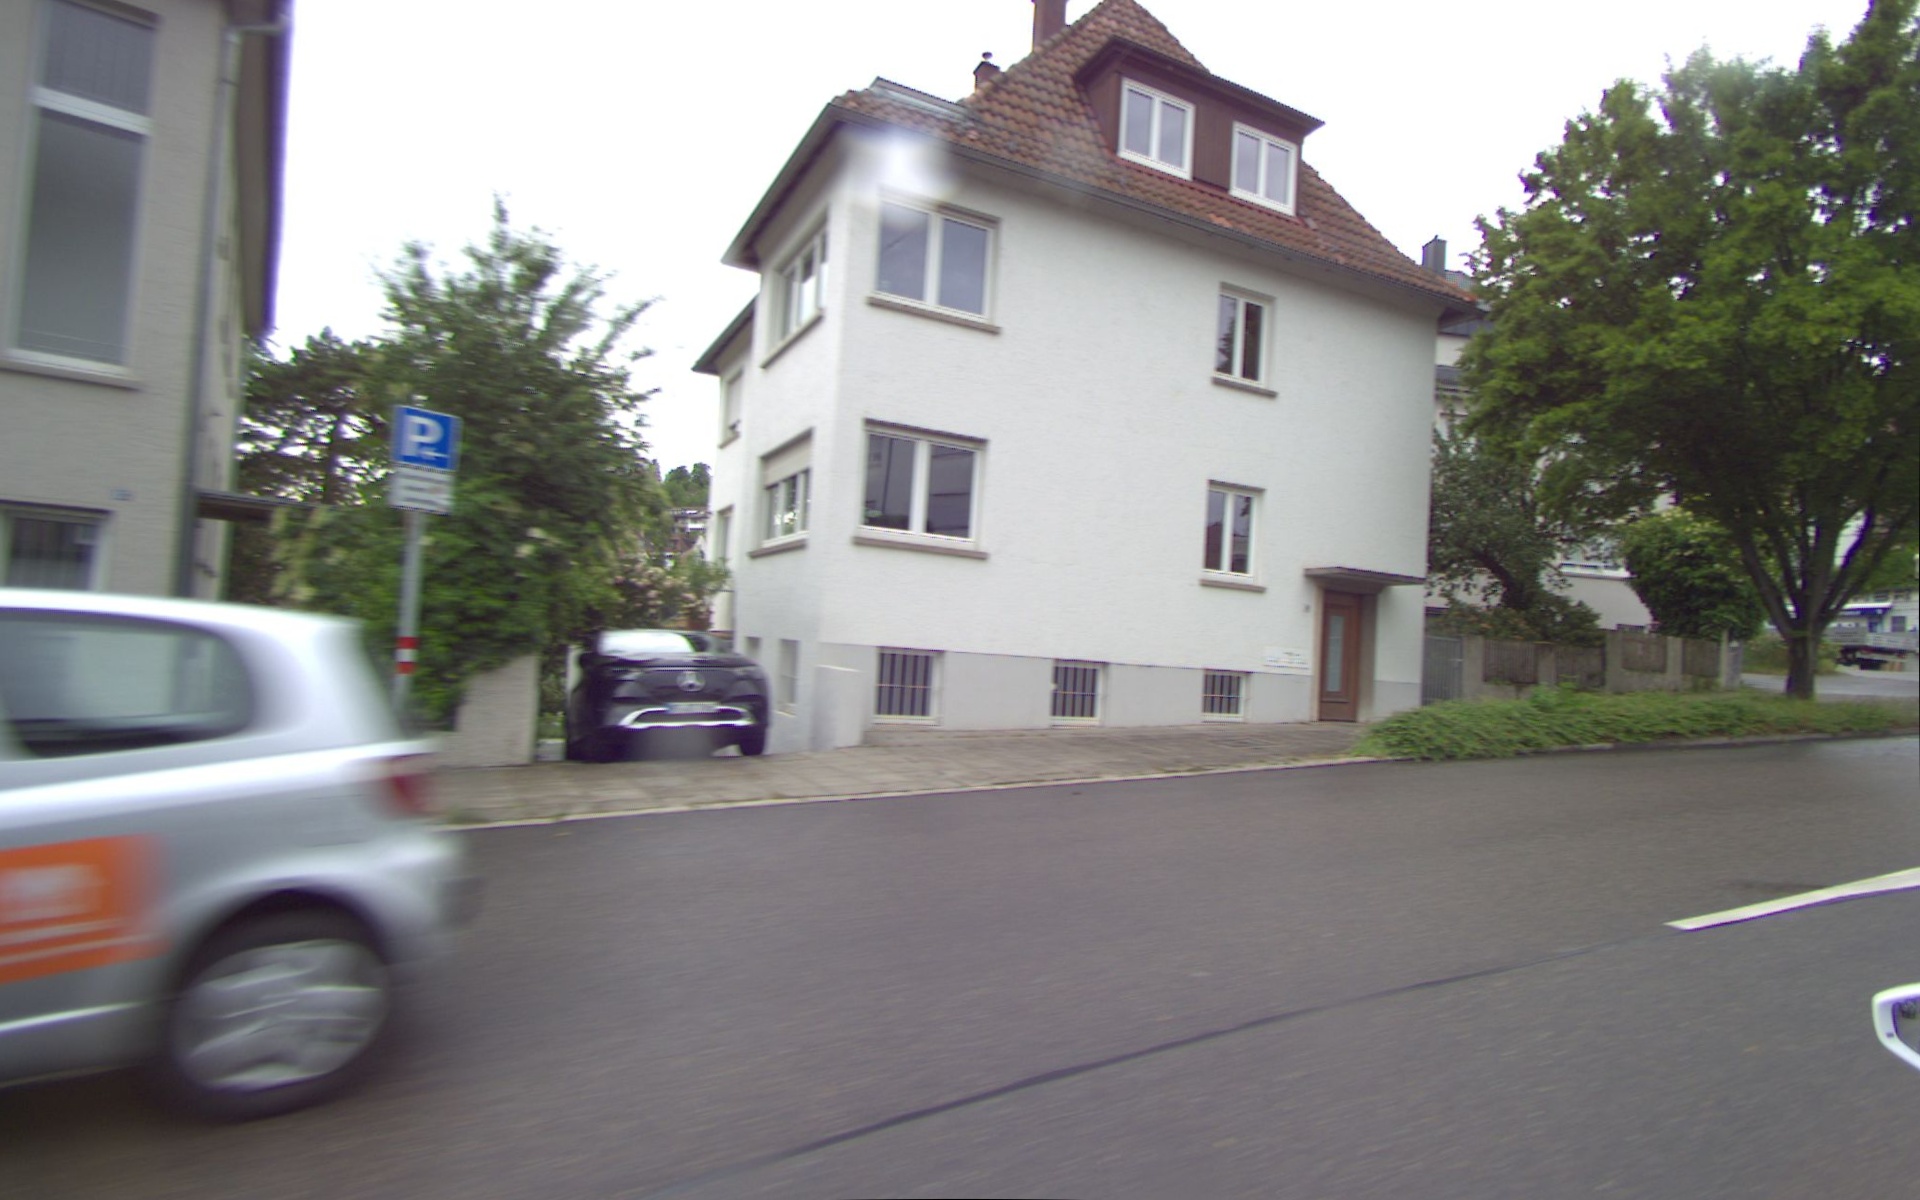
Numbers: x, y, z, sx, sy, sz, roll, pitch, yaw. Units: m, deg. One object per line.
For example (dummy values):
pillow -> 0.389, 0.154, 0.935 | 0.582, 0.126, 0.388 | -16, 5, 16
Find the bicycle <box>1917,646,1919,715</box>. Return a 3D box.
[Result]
bicycle -> 16.452, 1.282, 16.080 | 1.925, 1.099, 0.421 | -1, 0, -4

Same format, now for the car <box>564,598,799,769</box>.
car -> -3.506, 0.891, 12.033 | 1.974, 1.645, 4.227 | 2, -2, -26

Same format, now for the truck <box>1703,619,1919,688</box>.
truck -> 32.920, 1.981, 39.227 | 2.271, 2.299, 6.803 | 1, 0, -6

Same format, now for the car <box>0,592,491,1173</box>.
car -> -3.459, 0.692, 2.639 | 3.819, 1.442, 1.477 | 2, -3, -36
